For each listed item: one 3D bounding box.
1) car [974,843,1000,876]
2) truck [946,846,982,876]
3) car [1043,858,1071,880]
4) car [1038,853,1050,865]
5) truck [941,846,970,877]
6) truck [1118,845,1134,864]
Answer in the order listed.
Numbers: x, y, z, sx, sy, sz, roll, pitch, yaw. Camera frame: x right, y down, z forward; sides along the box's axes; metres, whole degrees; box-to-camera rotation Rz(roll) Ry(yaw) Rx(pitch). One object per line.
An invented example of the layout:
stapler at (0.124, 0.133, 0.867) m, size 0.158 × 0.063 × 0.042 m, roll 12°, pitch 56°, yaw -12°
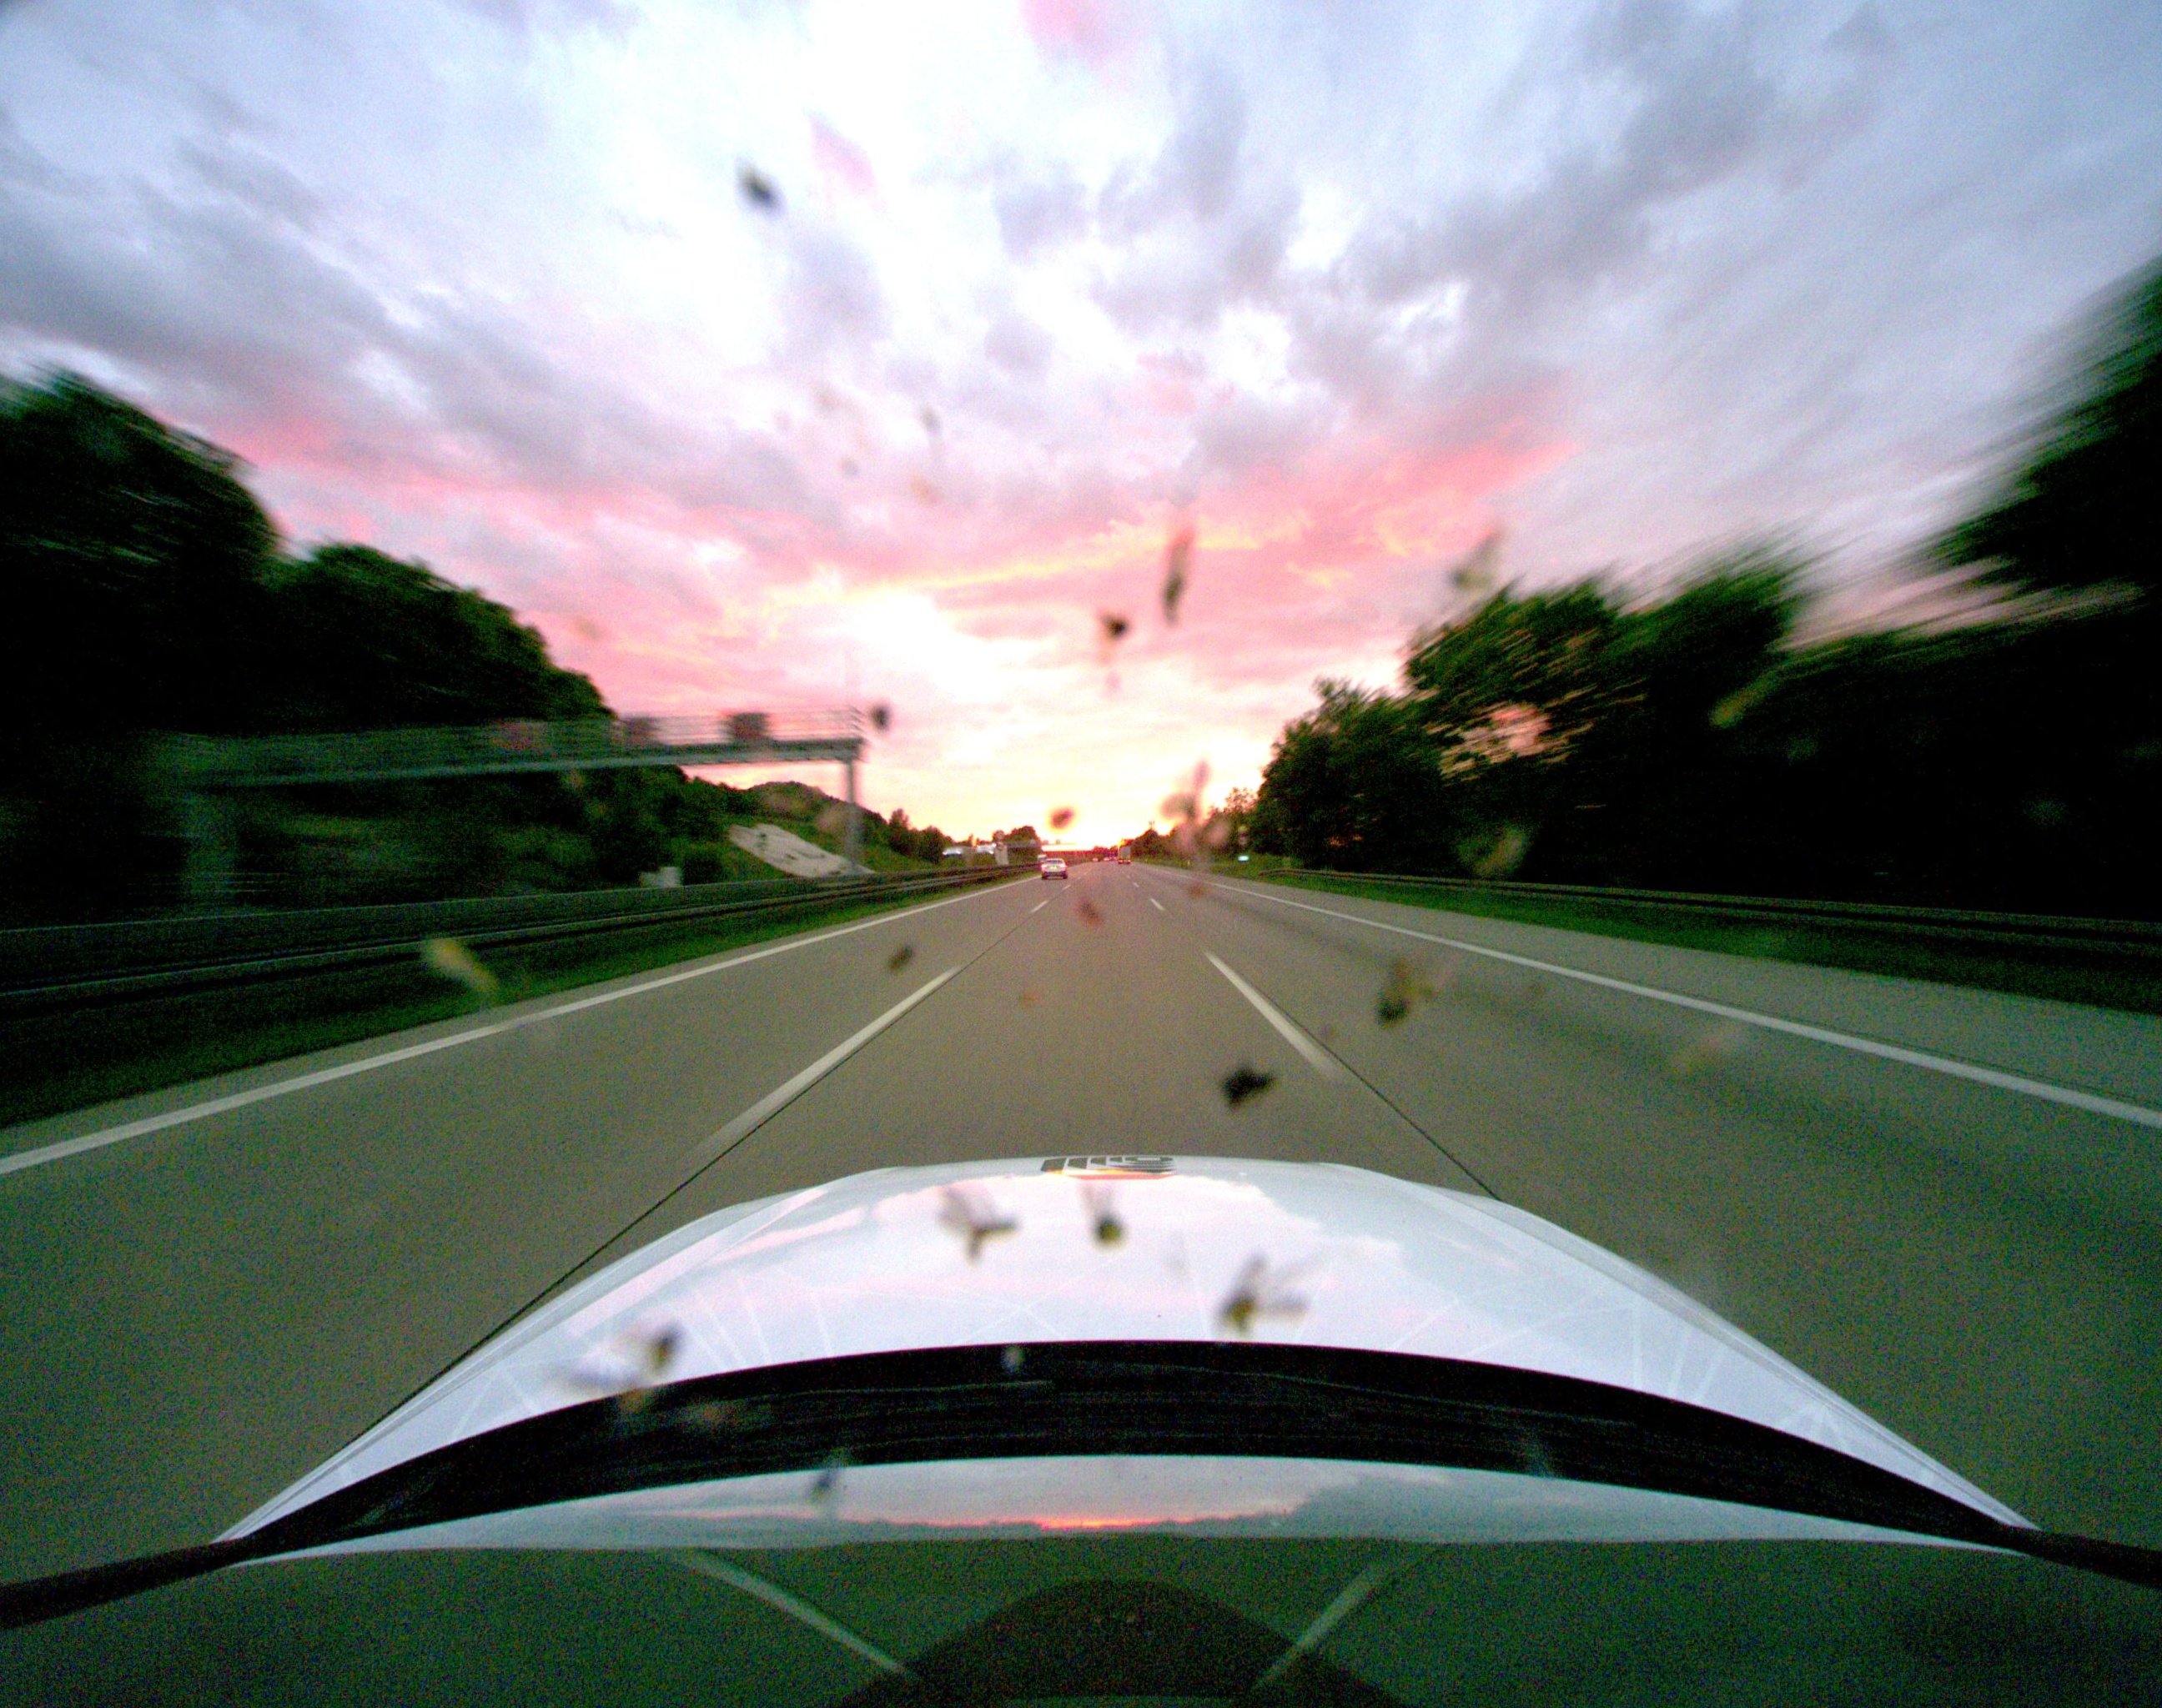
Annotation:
car at (-13.386, 0.815, 116.118) m, size 2.788 × 4.487 × 5.931 m, roll -2°, pitch -1°, yaw 1°
truck at (-17.415, 1.024, 122.293) m, size 2.884 × 4.210 × 13.608 m, roll -2°, pitch -1°, yaw 2°
car at (-1.761, 1.108, 61.112) m, size 1.783 × 1.501 × 5.039 m, roll -1°, pitch 0°, yaw 1°
car at (-7.927, 1.053, 173.239) m, size 1.986 × 2.287 × 6.341 m, roll -2°, pitch -1°, yaw 2°
truck at (-17.704, 1.000, 115.502) m, size 2.845 × 4.210 × 5.867 m, roll -2°, pitch -1°, yaw 2°
truck at (9.868, 0.140, 179.197) m, size 3.230 × 4.127 × 9.795 m, roll -2°, pitch -1°, yaw 4°
